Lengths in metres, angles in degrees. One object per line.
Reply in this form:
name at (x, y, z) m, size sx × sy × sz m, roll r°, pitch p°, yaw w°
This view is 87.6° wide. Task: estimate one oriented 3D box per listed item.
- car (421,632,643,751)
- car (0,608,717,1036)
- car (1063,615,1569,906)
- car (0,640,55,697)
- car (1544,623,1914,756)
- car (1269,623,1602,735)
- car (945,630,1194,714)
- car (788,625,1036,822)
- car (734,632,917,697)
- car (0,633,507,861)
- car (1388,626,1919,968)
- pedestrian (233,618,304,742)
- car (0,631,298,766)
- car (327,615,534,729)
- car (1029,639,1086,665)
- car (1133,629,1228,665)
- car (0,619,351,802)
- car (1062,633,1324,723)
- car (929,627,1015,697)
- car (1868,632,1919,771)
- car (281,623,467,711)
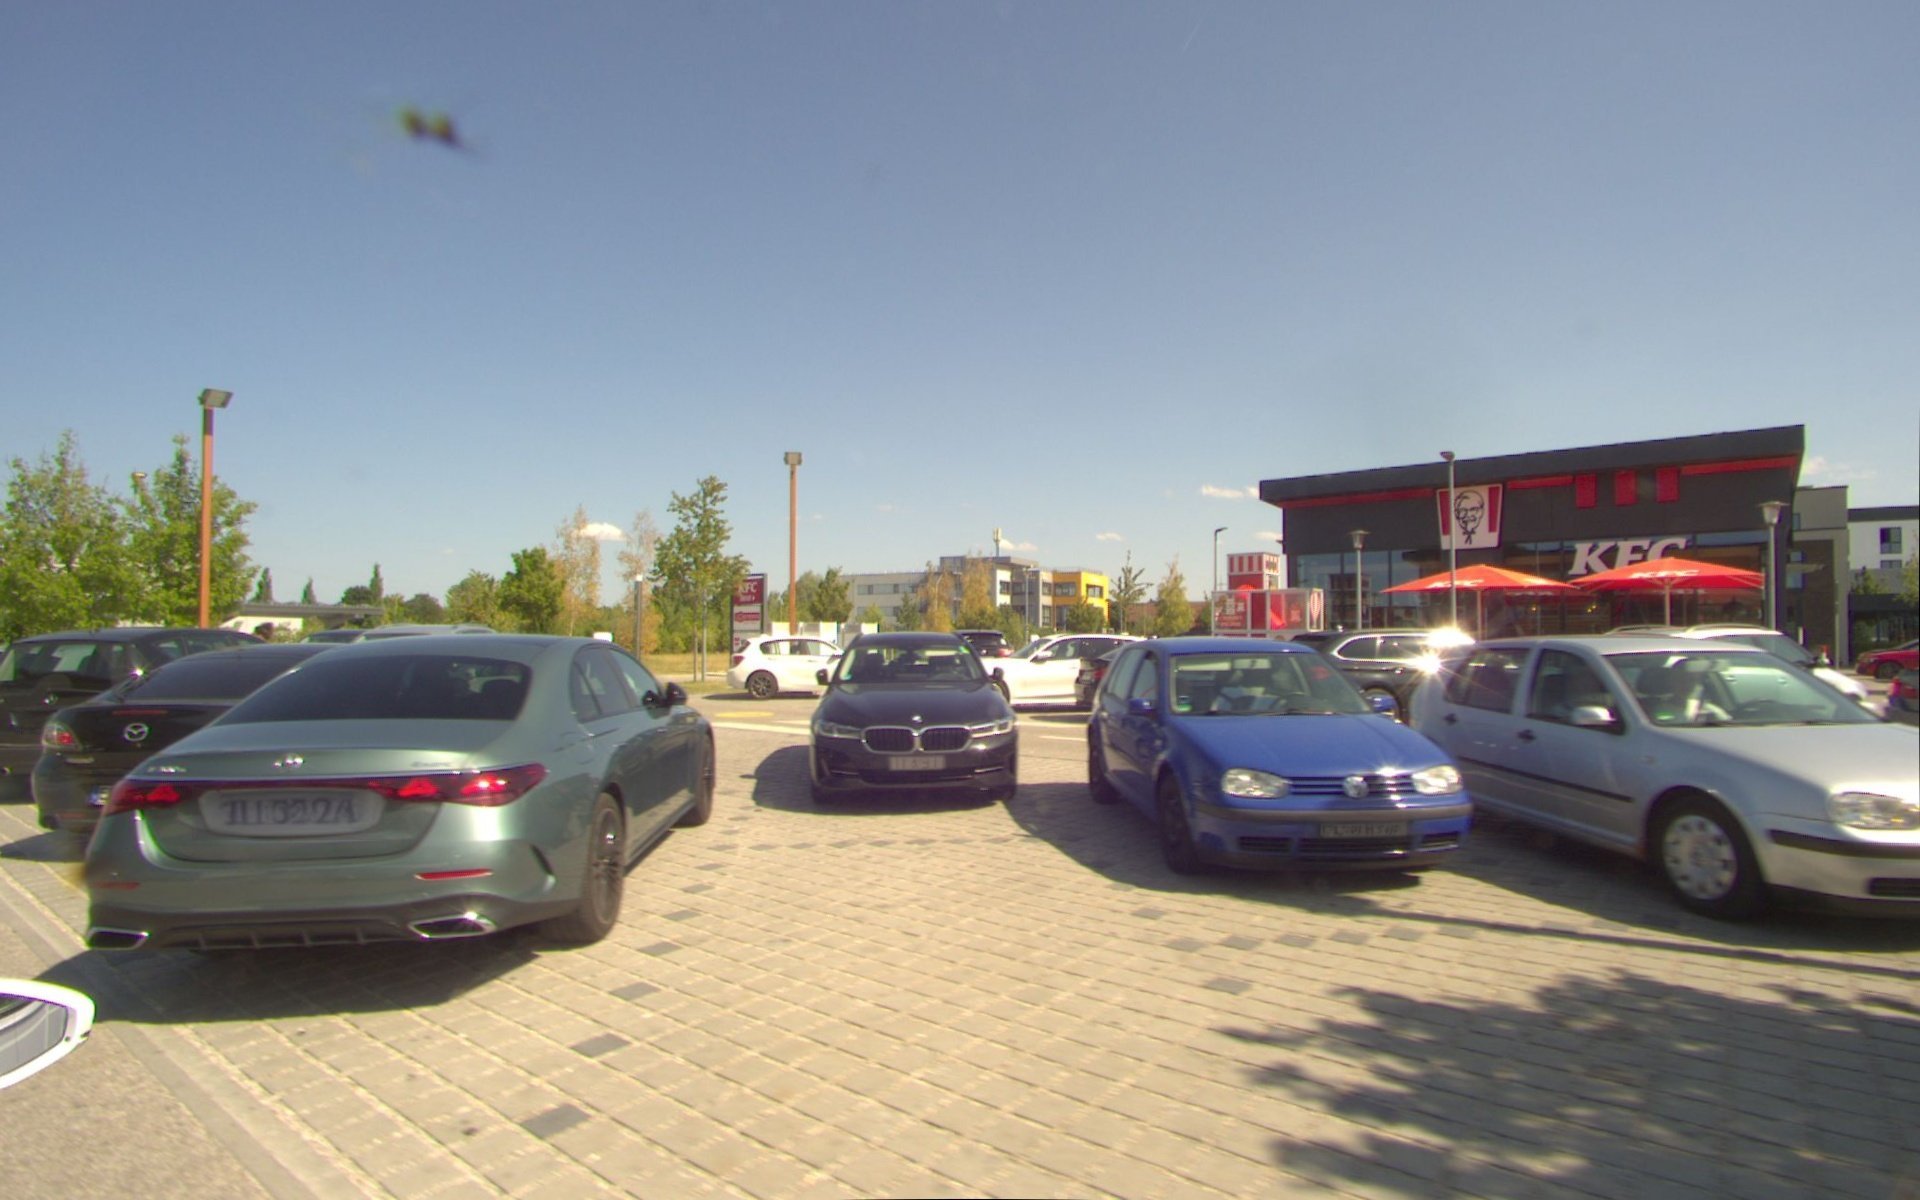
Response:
car at (-5.814, 1.174, 14.166) m, size 1.759 × 1.426 × 4.082 m, roll 0°, pitch -2°, yaw -6°
car at (-2.746, 0.895, 5.942) m, size 1.851 × 1.530 × 4.544 m, roll 0°, pitch -2°, yaw -5°
car at (2.152, 0.941, 7.570) m, size 1.945 × 1.530 × 4.419 m, roll 0°, pitch -2°, yaw -5°
car at (-24.815, 1.644, 23.991) m, size 1.800 × 1.395 × 4.418 m, roll -1°, pitch -3°, yaw 38°
car at (10.006, 1.096, 13.066) m, size 4.278 × 1.530 × 1.776 m, roll 1°, pitch -2°, yaw -19°
car at (6.683, 1.098, 14.430) m, size 3.922 × 1.508 × 1.822 m, roll 0°, pitch -2°, yaw 3°
car at (2.035, 1.349, 19.190) m, size 4.389 × 1.490 × 1.914 m, roll 1°, pitch -2°, yaw -11°
car at (-0.556, 1.059, 10.077) m, size 1.945 × 1.530 × 4.419 m, roll 0°, pitch -2°, yaw -5°
car at (-3.168, 1.491, 23.549) m, size 4.107 × 1.443 × 1.844 m, roll 1°, pitch -2°, yaw -10°
car at (-5.604, 1.035, 8.535) m, size 1.793 × 1.467 × 4.078 m, roll 0°, pitch -2°, yaw -3°
car at (4.468, 0.906, 6.250) m, size 1.673 × 1.444 × 3.905 m, roll 0°, pitch -2°, yaw -5°
pedestrian at (-9.904, 1.137, 14.363) m, size 0.599 × 1.735 × 0.564 m, roll 0°, pitch -1°, yaw 2°
car at (-11.181, 1.157, 13.347) m, size 1.800 × 1.465 × 4.664 m, roll 0°, pitch -2°, yaw -3°
car at (-8.670, 1.130, 16.817) m, size 1.714 × 1.661 × 4.067 m, roll 0°, pitch -2°, yaw -7°
car at (6.172, 3.233, 63.180) m, size 1.925 × 1.588 × 3.977 m, roll -1°, pitch -3°, yaw 35°
car at (10.836, 2.312, 49.418) m, size 4.331 × 1.706 × 1.630 m, roll -2°, pitch -3°, yaw 39°
car at (-8.494, 1.059, 10.858) m, size 1.777 × 1.613 × 4.000 m, roll 0°, pitch -2°, yaw -8°
car at (3.827, 1.275, 16.868) m, size 3.923 × 1.420 × 1.821 m, roll 0°, pitch -2°, yaw -6°
car at (0.219, 1.497, 24.778) m, size 1.723 × 1.596 × 4.088 m, roll 0°, pitch -2°, yaw -5°
car at (12.160, 1.042, 10.241) m, size 4.593 × 1.428 × 1.712 m, roll 0°, pitch -2°, yaw -8°
car at (-11.557, 1.260, 20.090) m, size 1.860 × 1.556 × 4.189 m, roll 0°, pitch -2°, yaw -10°
